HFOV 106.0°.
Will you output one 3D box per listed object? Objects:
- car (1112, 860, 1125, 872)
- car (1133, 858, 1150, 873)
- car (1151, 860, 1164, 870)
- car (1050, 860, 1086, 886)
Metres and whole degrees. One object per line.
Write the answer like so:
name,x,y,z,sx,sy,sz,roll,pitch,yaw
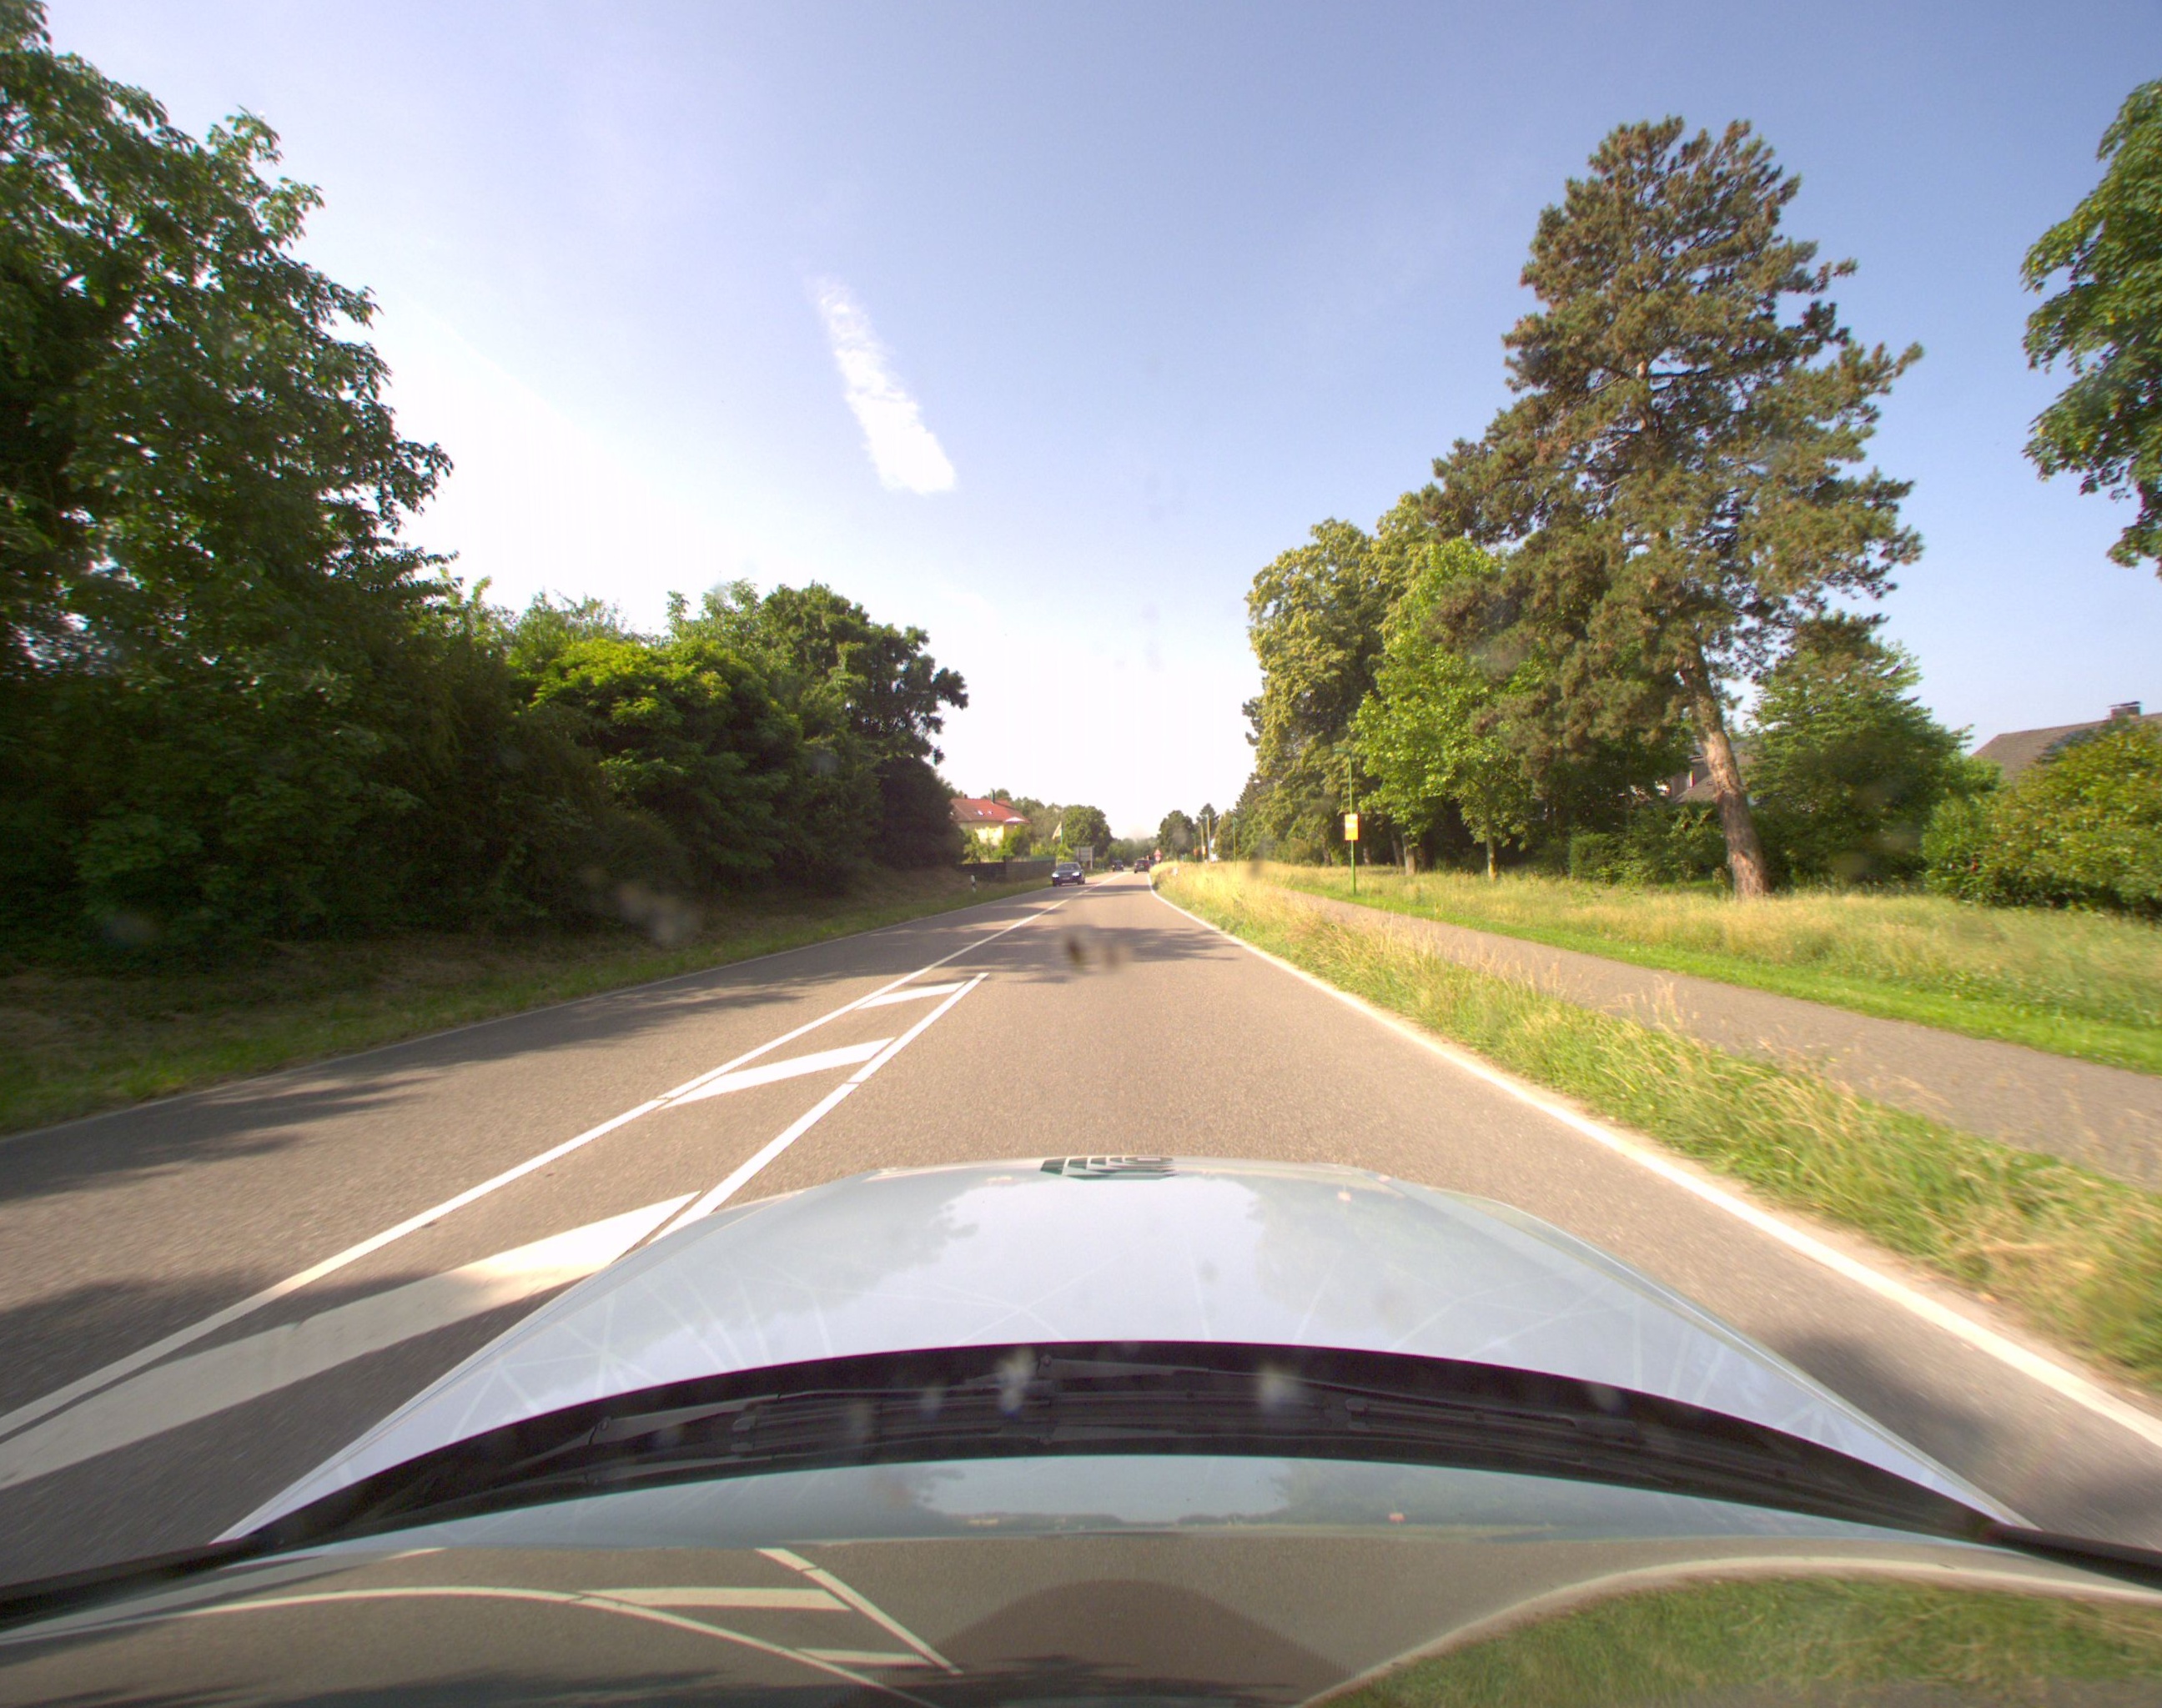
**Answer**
car,6.116,1.876,132.126,1.930,1.817,4.247,-3,-1,5
car,7.310,1.368,98.642,1.918,1.771,4.002,-2,0,2
car,12.188,1.804,130.520,1.730,1.516,3.915,-2,0,1
car,-0.805,1.177,51.959,1.862,1.423,4.581,-4,-1,3
